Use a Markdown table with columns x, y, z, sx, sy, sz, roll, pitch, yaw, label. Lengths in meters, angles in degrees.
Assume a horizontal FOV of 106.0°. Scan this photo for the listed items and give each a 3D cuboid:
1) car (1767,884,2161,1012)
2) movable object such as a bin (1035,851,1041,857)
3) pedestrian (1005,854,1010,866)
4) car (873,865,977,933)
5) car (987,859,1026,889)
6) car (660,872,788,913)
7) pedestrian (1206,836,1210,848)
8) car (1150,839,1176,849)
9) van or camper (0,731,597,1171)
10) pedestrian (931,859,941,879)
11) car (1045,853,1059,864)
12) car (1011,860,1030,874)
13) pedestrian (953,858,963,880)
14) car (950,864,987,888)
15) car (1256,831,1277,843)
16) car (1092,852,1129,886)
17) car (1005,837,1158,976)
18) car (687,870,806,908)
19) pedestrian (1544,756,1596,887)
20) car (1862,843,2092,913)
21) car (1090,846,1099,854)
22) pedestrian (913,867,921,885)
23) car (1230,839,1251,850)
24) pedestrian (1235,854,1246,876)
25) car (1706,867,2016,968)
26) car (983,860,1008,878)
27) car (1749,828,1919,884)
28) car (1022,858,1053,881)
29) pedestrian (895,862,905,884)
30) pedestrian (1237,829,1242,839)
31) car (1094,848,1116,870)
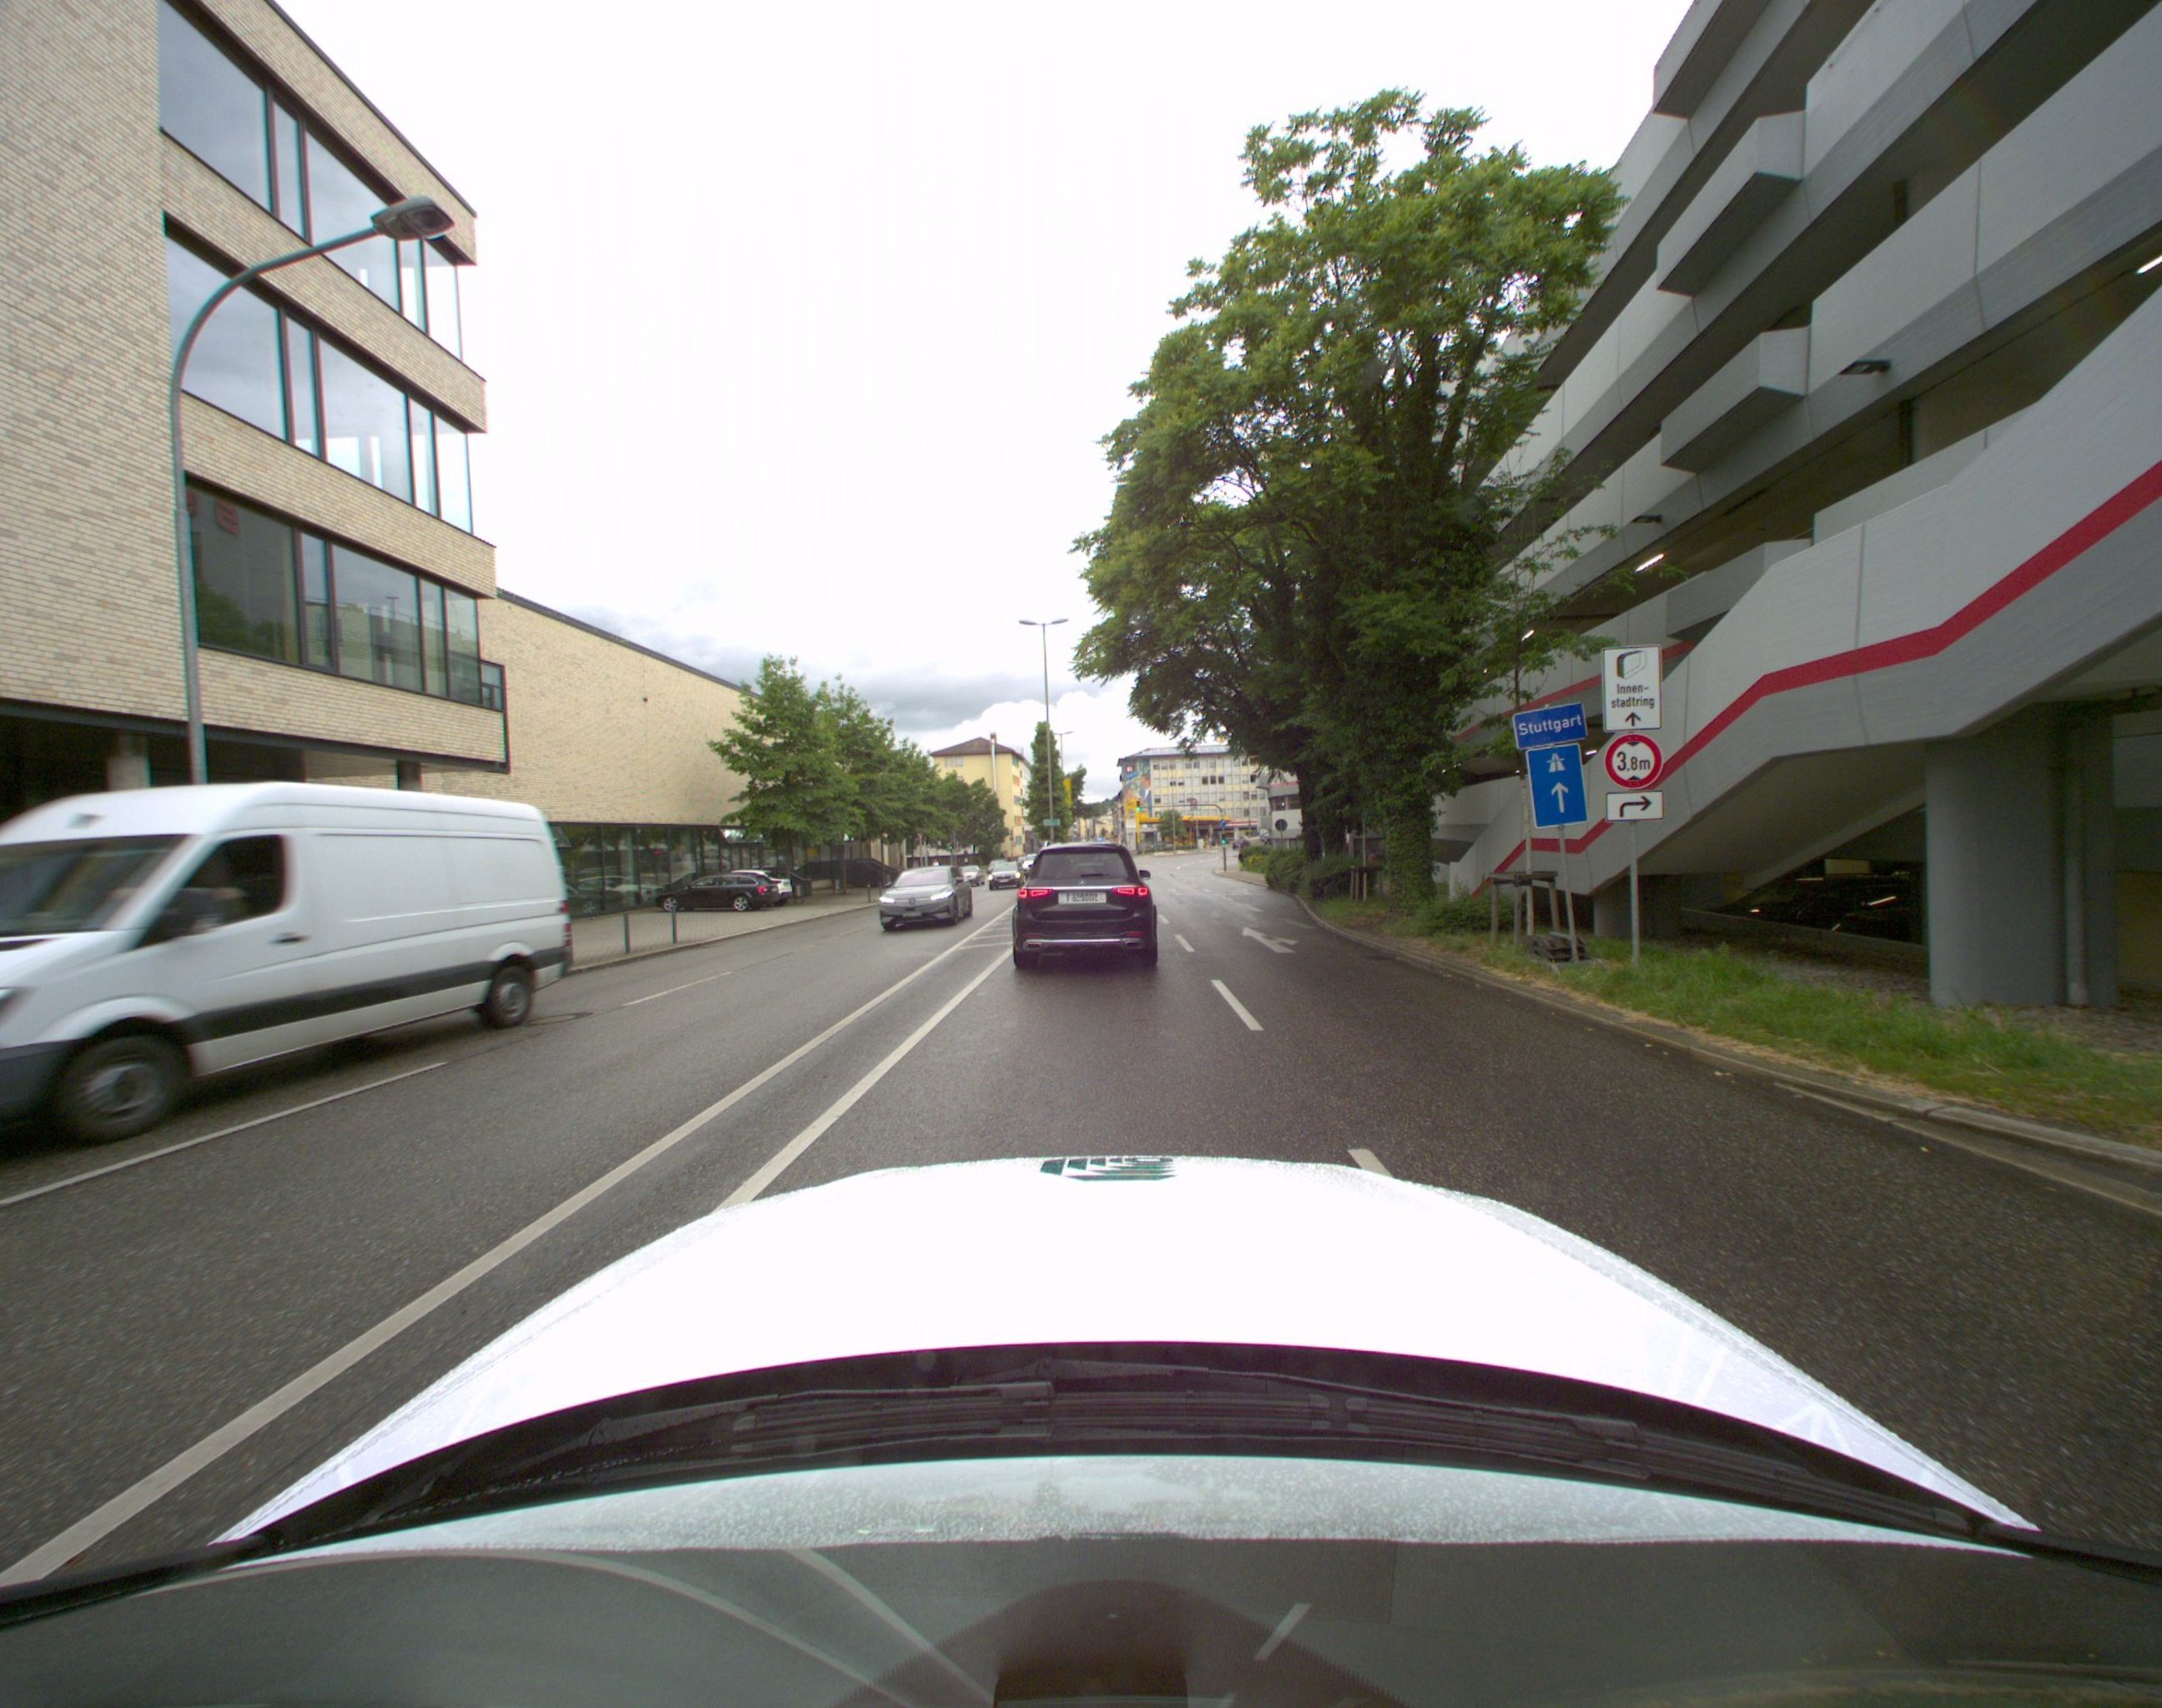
| x | y | z | sx | sy | sz | roll | pitch | yaw | label |
| --- | --- | --- | --- | --- | --- | --- | --- | --- | --- |
| 12.930 | 1.322 | 11.991 | 3.966 | 1.624 | 1.841 | -1 | 0 | 6 | car |
| -7.470 | -0.057 | 140.788 | 0.906 | 1.038 | 0.844 | 0 | -1 | 2 | movable object such as a bin |
| -10.237 | 0.833 | 113.300 | 0.647 | 1.727 | 0.628 | -3 | 0 | -2 | pedestrian |
| -4.055 | 1.127 | 21.981 | 1.877 | 1.498 | 4.560 | -4 | -1 | -1 | car |
| -4.188 | 1.119 | 46.361 | 1.806 | 1.462 | 4.286 | -4 | -1 | -1 | car |
| -13.931 | 1.478 | 31.989 | 4.169 | 1.495 | 1.996 | 0 | -1 | -5 | car |
| 18.631 | -1.781 | 119.282 | 0.570 | 1.697 | 0.631 | 0 | -1 | 3 | pedestrian |
| 12.844 | -1.629 | 127.779 | 1.747 | 1.376 | 3.952 | -3 | 0 | -42 | car |
| -7.393 | 0.645 | 7.568 | 2.095 | 2.582 | 5.907 | -4 | -1 | 0 | van or camper |
| -12.672 | 1.302 | 71.259 | 0.688 | 1.656 | 0.612 | -3 | 0 | -6 | pedestrian |
| -4.441 | 0.664 | 127.014 | 1.882 | 1.586 | 4.536 | -4 | 0 | 0 | car |
| -6.695 | 1.431 | 90.761 | 1.727 | 1.393 | 4.198 | -4 | 0 | -1 | car |
| -10.156 | 1.216 | 67.166 | 0.687 | 1.757 | 0.716 | -2 | 0 | -9 | pedestrian |
| -7.581 | 1.436 | 55.132 | 1.823 | 1.388 | 4.229 | -4 | 0 | 0 | car |
| 31.304 | -2.865 | 137.304 | 1.974 | 1.706 | 4.026 | -3 | 0 | 35 | car |
| 1.656 | 0.826 | 46.028 | 1.986 | 1.800 | 4.001 | 0 | -1 | 2 | car |
| 0.067 | 0.711 | 12.605 | 1.986 | 1.800 | 4.001 | 0 | -1 | 2 | car |
| -14.027 | 1.447 | 34.297 | 4.158 | 1.547 | 2.002 | 0 | -1 | 3 | car |
| 8.242 | -0.530 | 13.741 | 0.511 | 2.154 | 0.494 | -2 | -1 | 6 | pedestrian |
| 24.810 | 0.661 | 22.717 | 3.958 | 1.783 | 1.823 | -2 | 0 | 14 | car |
| 3.441 | -0.970 | 208.727 | 1.985 | 2.014 | 4.002 | 0 | -1 | 3 | car |
| -14.315 | 1.965 | 71.226 | 0.435 | 1.534 | 0.548 | -3 | 0 | 16 | pedestrian |
| 22.183 | -1.284 | 112.995 | 1.779 | 1.525 | 4.080 | 0 | 1 | 28 | car |
| 12.611 | 0.855 | 64.380 | 0.639 | 1.710 | 0.474 | -2 | -2 | 38 | pedestrian |
| 13.895 | 1.107 | 14.729 | 3.713 | 1.540 | 1.815 | -1 | 3 | 7 | car |
| -7.643 | 1.348 | 72.934 | 1.740 | 1.412 | 3.970 | -4 | 0 | 0 | car |
| 26.214 | 0.079 | 28.508 | 3.958 | 1.783 | 1.823 | -2 | 0 | 14 | car |
| -3.737 | 1.319 | 70.733 | 1.882 | 1.811 | 4.581 | -4 | 0 | 5 | car |
| -13.667 | 1.413 | 61.481 | 0.641 | 1.666 | 1.017 | 0 | -1 | -4 | pedestrian |
| 26.421 | -3.335 | 135.562 | 0.521 | 1.727 | 0.693 | -2 | 0 | 28 | pedestrian |
| 2.319 | 0.525 | 78.337 | 1.986 | 2.014 | 4.001 | 0 | -1 | 1 | car |
